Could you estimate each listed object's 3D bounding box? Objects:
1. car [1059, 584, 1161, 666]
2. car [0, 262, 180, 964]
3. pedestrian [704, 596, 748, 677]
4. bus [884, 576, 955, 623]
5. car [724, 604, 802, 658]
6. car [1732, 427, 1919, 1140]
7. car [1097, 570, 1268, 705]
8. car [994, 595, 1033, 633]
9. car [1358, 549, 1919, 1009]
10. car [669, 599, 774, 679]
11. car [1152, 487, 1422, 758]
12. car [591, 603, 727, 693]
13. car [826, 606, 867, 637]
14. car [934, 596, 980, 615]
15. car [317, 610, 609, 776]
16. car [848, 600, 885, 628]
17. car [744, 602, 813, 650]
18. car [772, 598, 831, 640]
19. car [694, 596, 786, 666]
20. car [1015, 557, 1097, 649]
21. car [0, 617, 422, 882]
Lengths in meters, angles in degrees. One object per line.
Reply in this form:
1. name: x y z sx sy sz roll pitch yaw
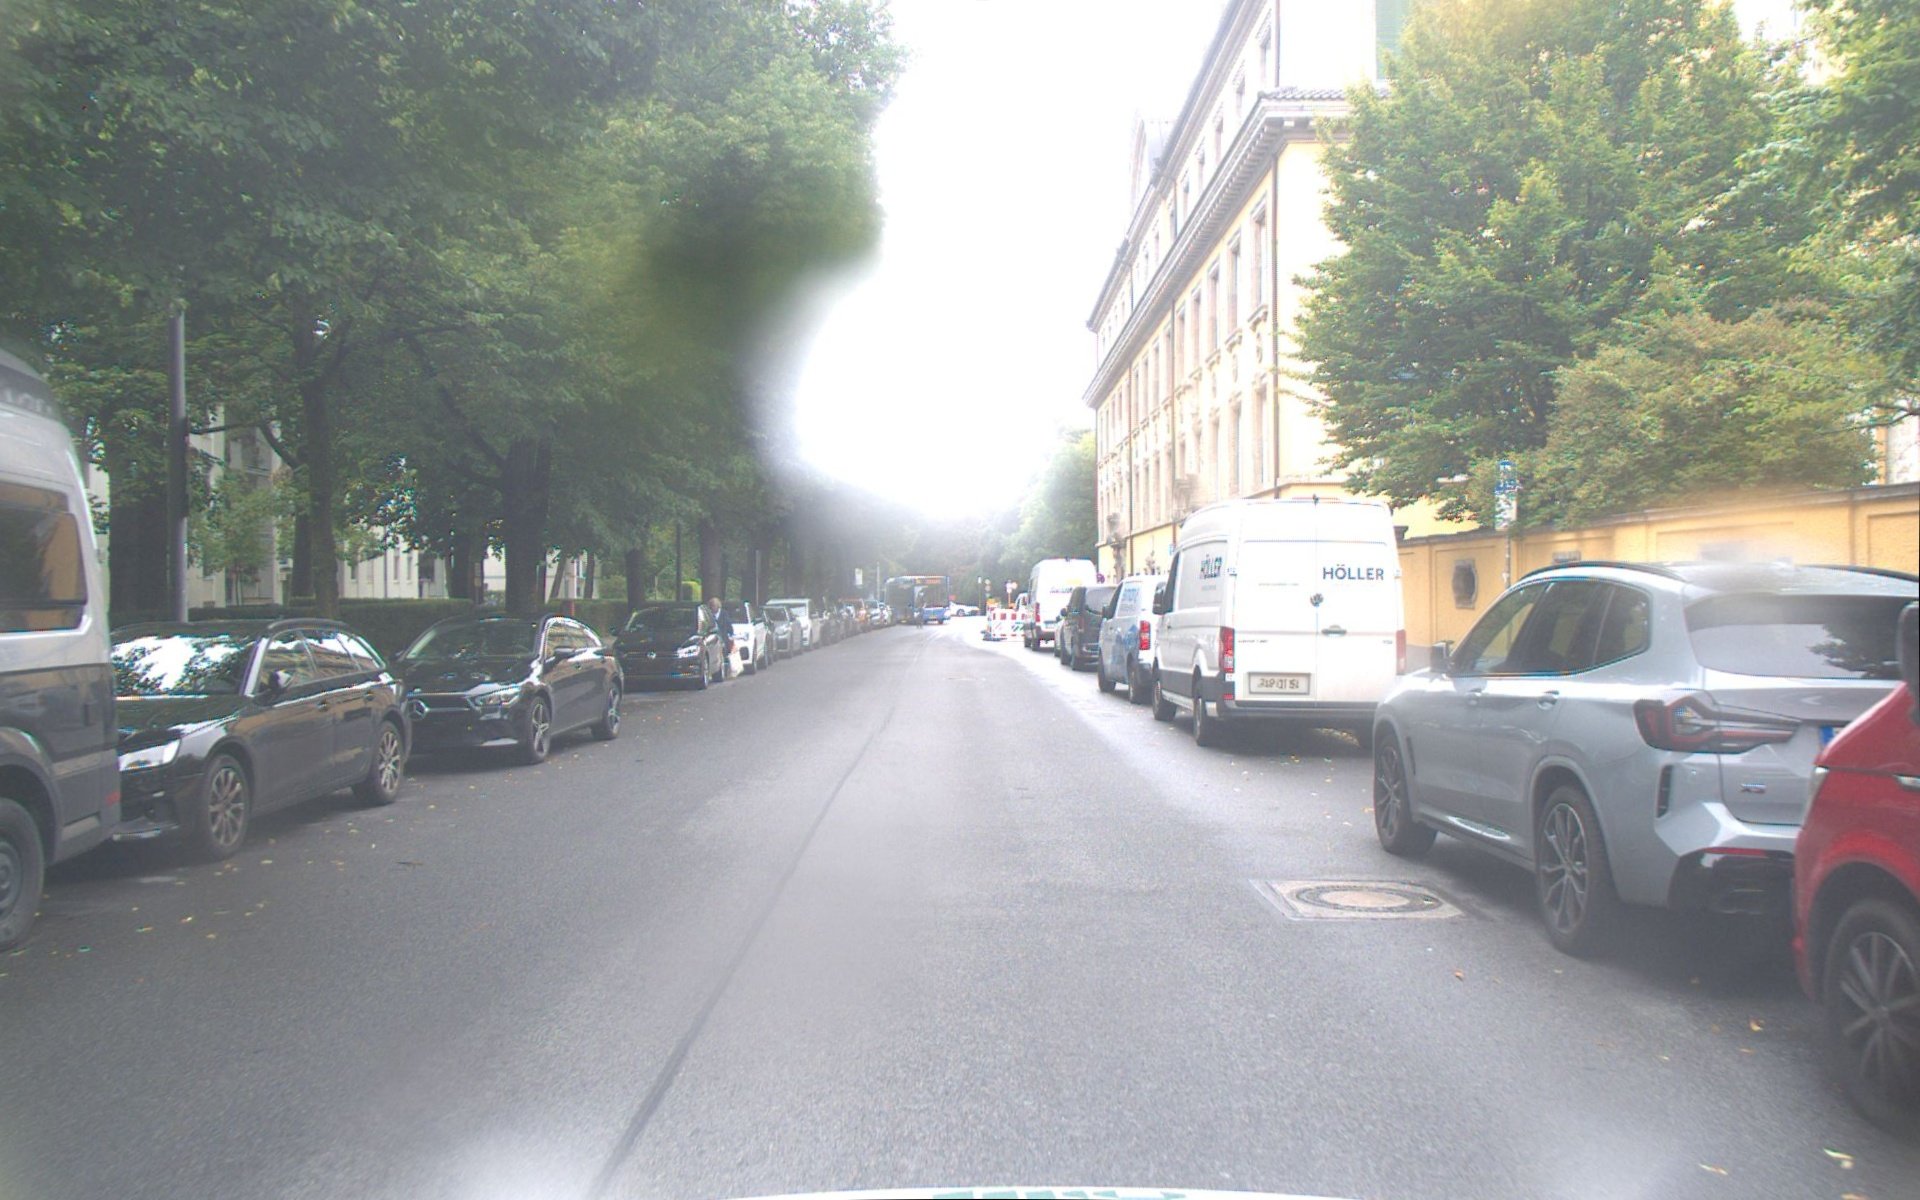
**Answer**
1. car: 3.299 0.520 37.022 1.758 1.708 3.998 -1 0 -2
2. car: -5.219 0.067 5.736 2.128 3.055 6.232 -1 0 -1
3. pedestrian: -4.763 0.739 33.698 0.867 1.626 0.822 -1 0 -8
4. bus: -2.743 -0.027 108.309 2.888 2.970 8.209 0 0 -14
5. car: -5.560 0.844 47.053 1.954 1.445 3.997 -1 0 -3
6. car: 3.642 0.499 3.124 1.873 1.971 4.967 -1 0 -2
7. car: 3.374 0.537 25.784 1.953 1.916 3.998 -1 0 -2
8. car: 2.670 0.666 81.683 1.767 1.767 4.002 -1 0 4
9. car: 3.566 0.638 8.335 1.953 1.663 4.563 -1 0 -1
10. car: -5.276 0.822 37.055 1.954 1.648 4.127 -1 0 -3
11. car: 3.502 0.212 18.824 1.953 2.603 5.430 -1 0 0
12. car: -5.457 0.833 30.504 1.954 1.513 4.127 -1 0 -3
13. car: -5.602 1.033 81.716 1.954 1.445 3.997 -1 0 -3
14. car: -0.268 0.493 140.419 3.907 1.573 1.999 0 0 -3
15. car: -4.947 0.855 17.097 1.954 1.445 4.127 -1 0 -3
16. car: -5.141 0.750 90.836 1.954 1.445 3.997 -1 0 -3
17. car: -5.760 0.784 52.754 1.954 1.445 3.997 -1 0 -3
18. car: -5.644 0.662 59.332 1.954 1.445 3.997 -1 0 -3
19. car: -5.468 0.735 41.511 1.954 1.648 4.127 -1 0 -3
20. car: 2.889 0.079 50.508 1.804 2.668 4.379 -1 0 -6
21. car: -5.247 0.870 11.391 1.954 1.445 3.997 -1 0 -3
